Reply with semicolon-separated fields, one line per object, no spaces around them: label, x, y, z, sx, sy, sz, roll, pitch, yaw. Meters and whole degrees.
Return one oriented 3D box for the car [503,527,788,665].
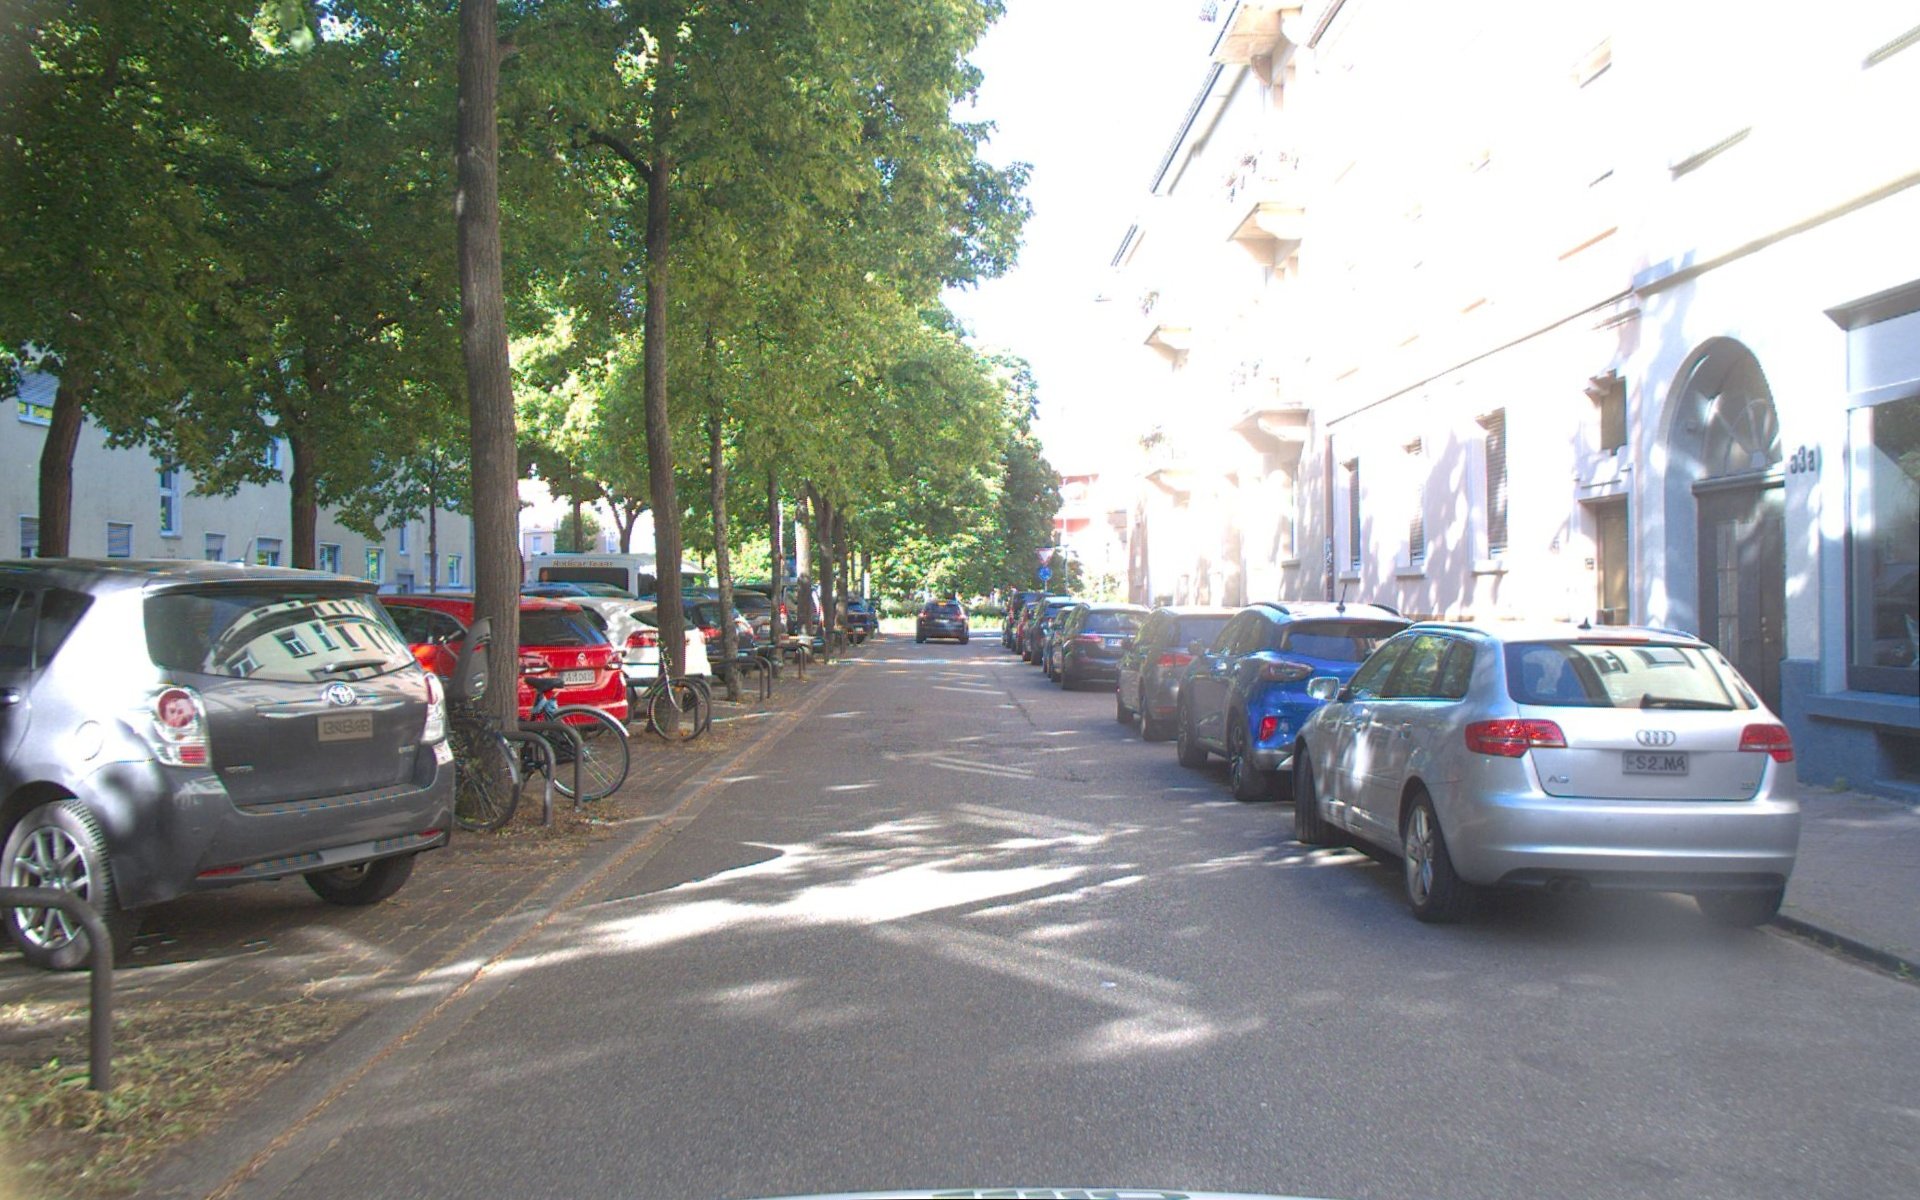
car;-7.339;-0.048;38.762;5.937;2.668;2.457;-5;-2;15

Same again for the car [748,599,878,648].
car;-4.655;0.764;52.892;4.006;1.492;1.866;1;-1;-2

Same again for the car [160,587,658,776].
car;-5.147;0.655;15.316;4.525;1.512;1.758;1;0;28

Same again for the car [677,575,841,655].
car;-5.016;0.373;41.234;3.770;1.922;1.839;-1;0;33

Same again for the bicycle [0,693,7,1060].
bicycle;-3.423;0.871;4.455;0.418;1.150;1.680;0;0;15

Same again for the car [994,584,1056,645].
car;2.136;0.459;55.478;1.765;1.903;4.272;3;0;-1

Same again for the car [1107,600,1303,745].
car;2.756;0.768;19.428;1.658;1.493;4.004;1;0;-1

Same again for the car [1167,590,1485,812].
car;2.936;0.728;14.167;1.731;1.579;4.183;-1;0;-1

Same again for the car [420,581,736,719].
car;-4.893;0.584;21.200;3.609;1.624;1.772;1;0;24

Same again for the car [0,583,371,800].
car;-6.857;0.634;13.186;4.024;1.498;1.869;0;0;28

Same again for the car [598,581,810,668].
car;-5.317;0.474;34.272;4.180;1.670;1.653;1;0;28

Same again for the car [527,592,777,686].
car;-5.274;0.638;28.243;4.018;1.507;1.729;0;-1;28

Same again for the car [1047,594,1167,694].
car;2.556;0.719;29.607;1.768;1.591;4.321;-2;0;1

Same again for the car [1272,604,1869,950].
car;3.035;0.767;9.262;1.733;1.456;4.290;0;0;-1

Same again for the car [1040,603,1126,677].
car;2.554;0.803;34.935;1.557;1.440;3.632;1;0;0

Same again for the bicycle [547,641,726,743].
bicycle;-3.310;0.933;16.908;1.772;1.011;0.426;-1;0;14

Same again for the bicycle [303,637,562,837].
bicycle;-3.350;0.842;10.478;1.650;1.179;0.379;1;0;19

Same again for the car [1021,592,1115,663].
car;2.656;0.639;41.678;1.827;1.672;4.489;1;0;-3

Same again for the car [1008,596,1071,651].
car;2.401;0.686;50.631;1.612;1.564;3.999;2;0;-1

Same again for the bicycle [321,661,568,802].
bicycle;-3.792;0.946;12.144;1.858;0.935;0.379;1;0;19

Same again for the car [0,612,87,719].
car;-15.591;1.045;25.788;1.855;1.592;4.158;-2;1;-3

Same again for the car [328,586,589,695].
car;-7.990;0.634;26.322;3.830;1.583;1.843;-1;0;30

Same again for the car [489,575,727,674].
car;-6.820;0.472;32.001;4.294;1.808;1.897;-1;-1;27

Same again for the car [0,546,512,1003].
car;-4.303;0.622;7.824;3.996;1.682;1.861;1;0;26

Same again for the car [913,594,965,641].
car;-0.712;0.582;57.940;1.679;1.509;4.145;-2;0;1

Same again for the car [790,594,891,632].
car;-4.909;0.550;67.570;4.064;1.507;1.767;-1;-1;40

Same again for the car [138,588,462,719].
car;-8.154;0.603;20.350;3.916;1.461;1.792;0;0;33
